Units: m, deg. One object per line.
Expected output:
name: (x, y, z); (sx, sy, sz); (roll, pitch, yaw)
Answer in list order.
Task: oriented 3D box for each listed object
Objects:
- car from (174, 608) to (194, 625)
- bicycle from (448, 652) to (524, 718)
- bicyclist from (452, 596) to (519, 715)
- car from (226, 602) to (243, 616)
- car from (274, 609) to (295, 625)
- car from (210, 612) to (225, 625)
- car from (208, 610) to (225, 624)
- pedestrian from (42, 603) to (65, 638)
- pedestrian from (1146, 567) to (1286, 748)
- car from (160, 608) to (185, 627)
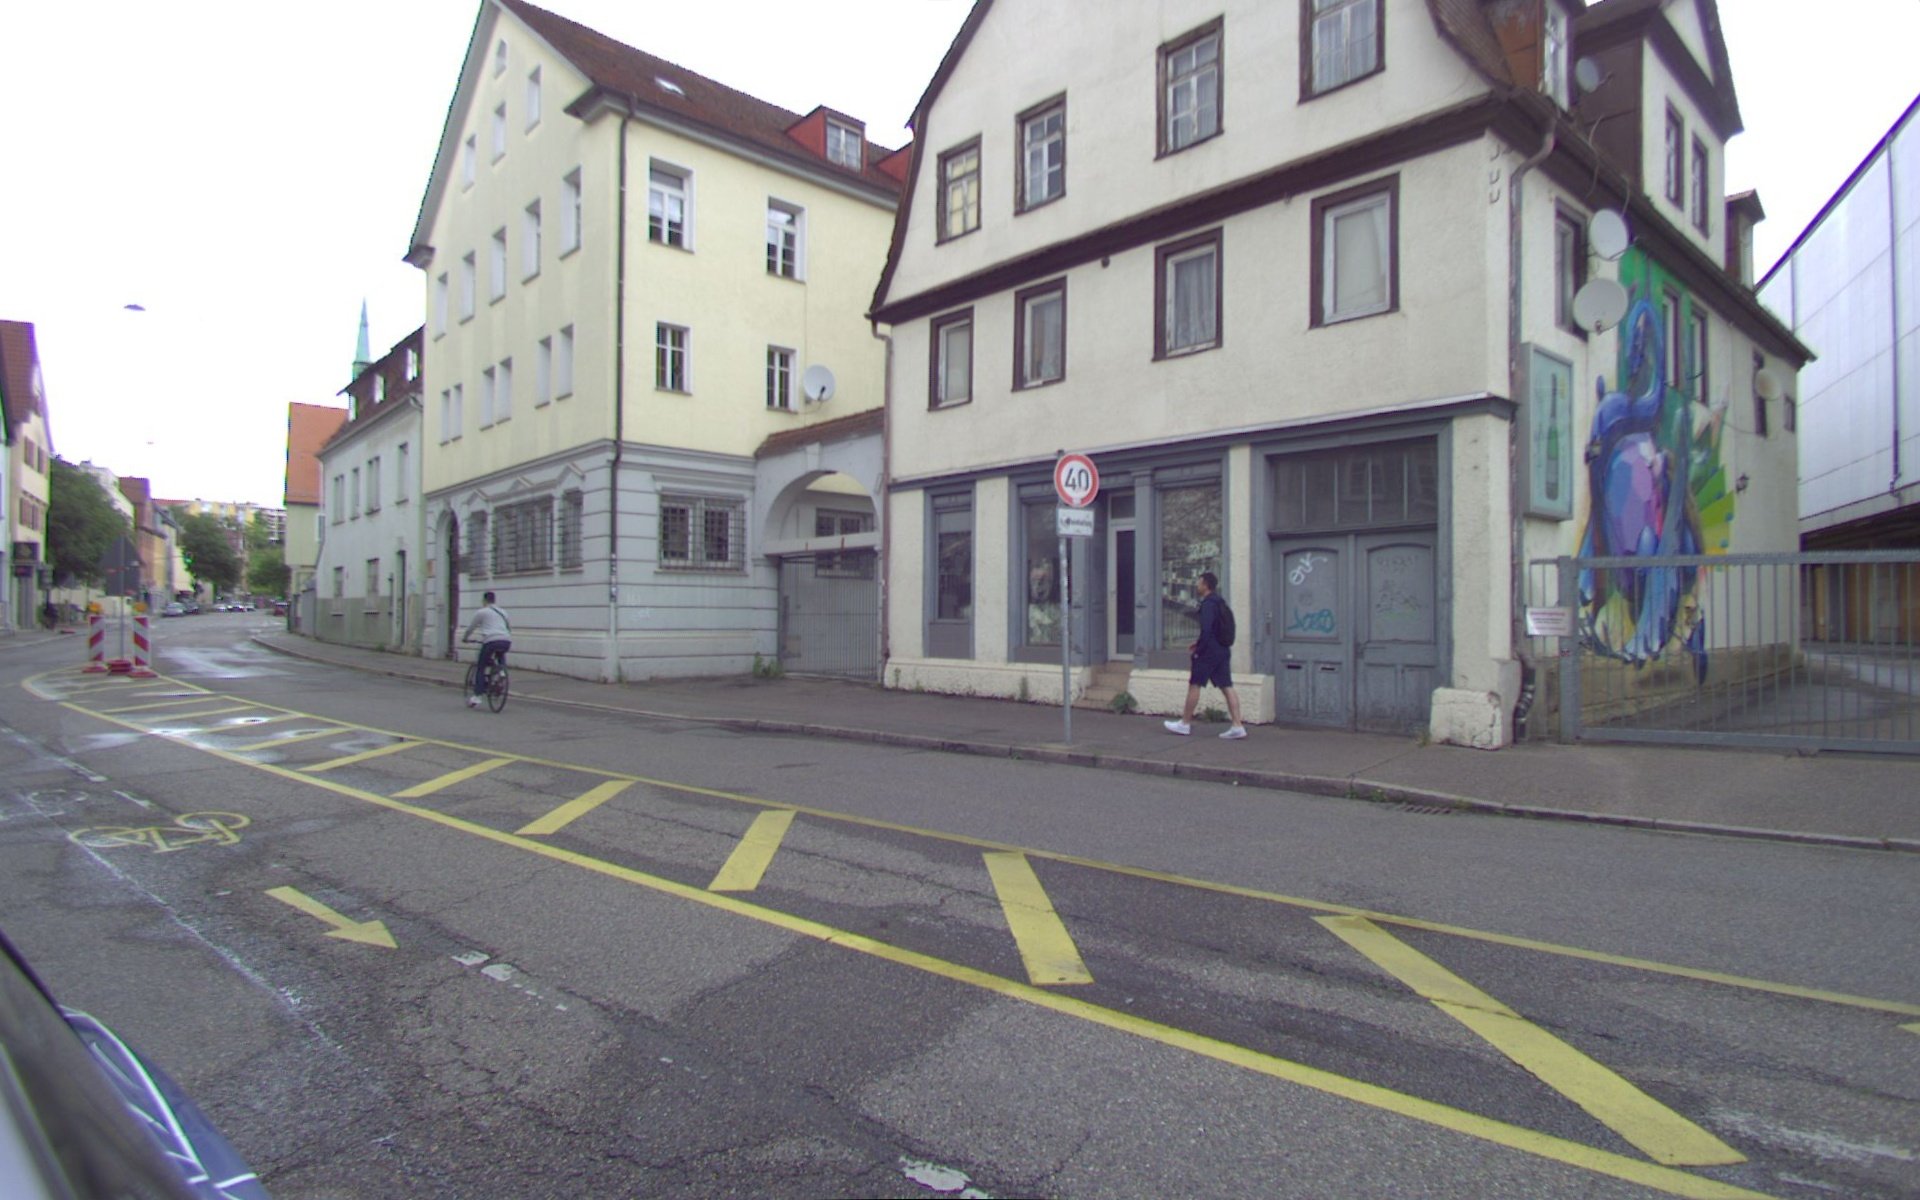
car: (-97.185, 2.091, 126.769); (1.967, 2.029, 4.009); (1, -2, -37)
bicycle: (-7.154, 1.252, 15.237); (0.534, 0.899, 1.883); (1, -2, -41)
bicyclist: (-7.129, 0.816, 15.192); (0.714, 1.714, 0.812); (1, -2, -41)
car: (-109.814, 1.368, 153.178); (1.967, 2.029, 4.009); (1, -2, -37)
car: (-85.747, 2.181, 128.416); (2.027, 2.029, 4.009); (1, -2, -37)
car: (-123.596, 3.118, 168.355); (1.967, 2.029, 4.009); (1, -2, -37)
car: (-114.851, 2.671, 156.283); (1.967, 2.029, 4.009); (1, -2, -37)
pedestrian: (-49.006, 1.115, 54.728); (0.865, 1.914, 0.898); (1, -2, -44)
pedestrian: (2.879, 0.619, 11.390); (1.092, 1.900, 1.042); (-4, -2, 44)
car: (-84.876, 1.924, 109.101); (1.967, 2.029, 4.009); (1, -2, -37)
